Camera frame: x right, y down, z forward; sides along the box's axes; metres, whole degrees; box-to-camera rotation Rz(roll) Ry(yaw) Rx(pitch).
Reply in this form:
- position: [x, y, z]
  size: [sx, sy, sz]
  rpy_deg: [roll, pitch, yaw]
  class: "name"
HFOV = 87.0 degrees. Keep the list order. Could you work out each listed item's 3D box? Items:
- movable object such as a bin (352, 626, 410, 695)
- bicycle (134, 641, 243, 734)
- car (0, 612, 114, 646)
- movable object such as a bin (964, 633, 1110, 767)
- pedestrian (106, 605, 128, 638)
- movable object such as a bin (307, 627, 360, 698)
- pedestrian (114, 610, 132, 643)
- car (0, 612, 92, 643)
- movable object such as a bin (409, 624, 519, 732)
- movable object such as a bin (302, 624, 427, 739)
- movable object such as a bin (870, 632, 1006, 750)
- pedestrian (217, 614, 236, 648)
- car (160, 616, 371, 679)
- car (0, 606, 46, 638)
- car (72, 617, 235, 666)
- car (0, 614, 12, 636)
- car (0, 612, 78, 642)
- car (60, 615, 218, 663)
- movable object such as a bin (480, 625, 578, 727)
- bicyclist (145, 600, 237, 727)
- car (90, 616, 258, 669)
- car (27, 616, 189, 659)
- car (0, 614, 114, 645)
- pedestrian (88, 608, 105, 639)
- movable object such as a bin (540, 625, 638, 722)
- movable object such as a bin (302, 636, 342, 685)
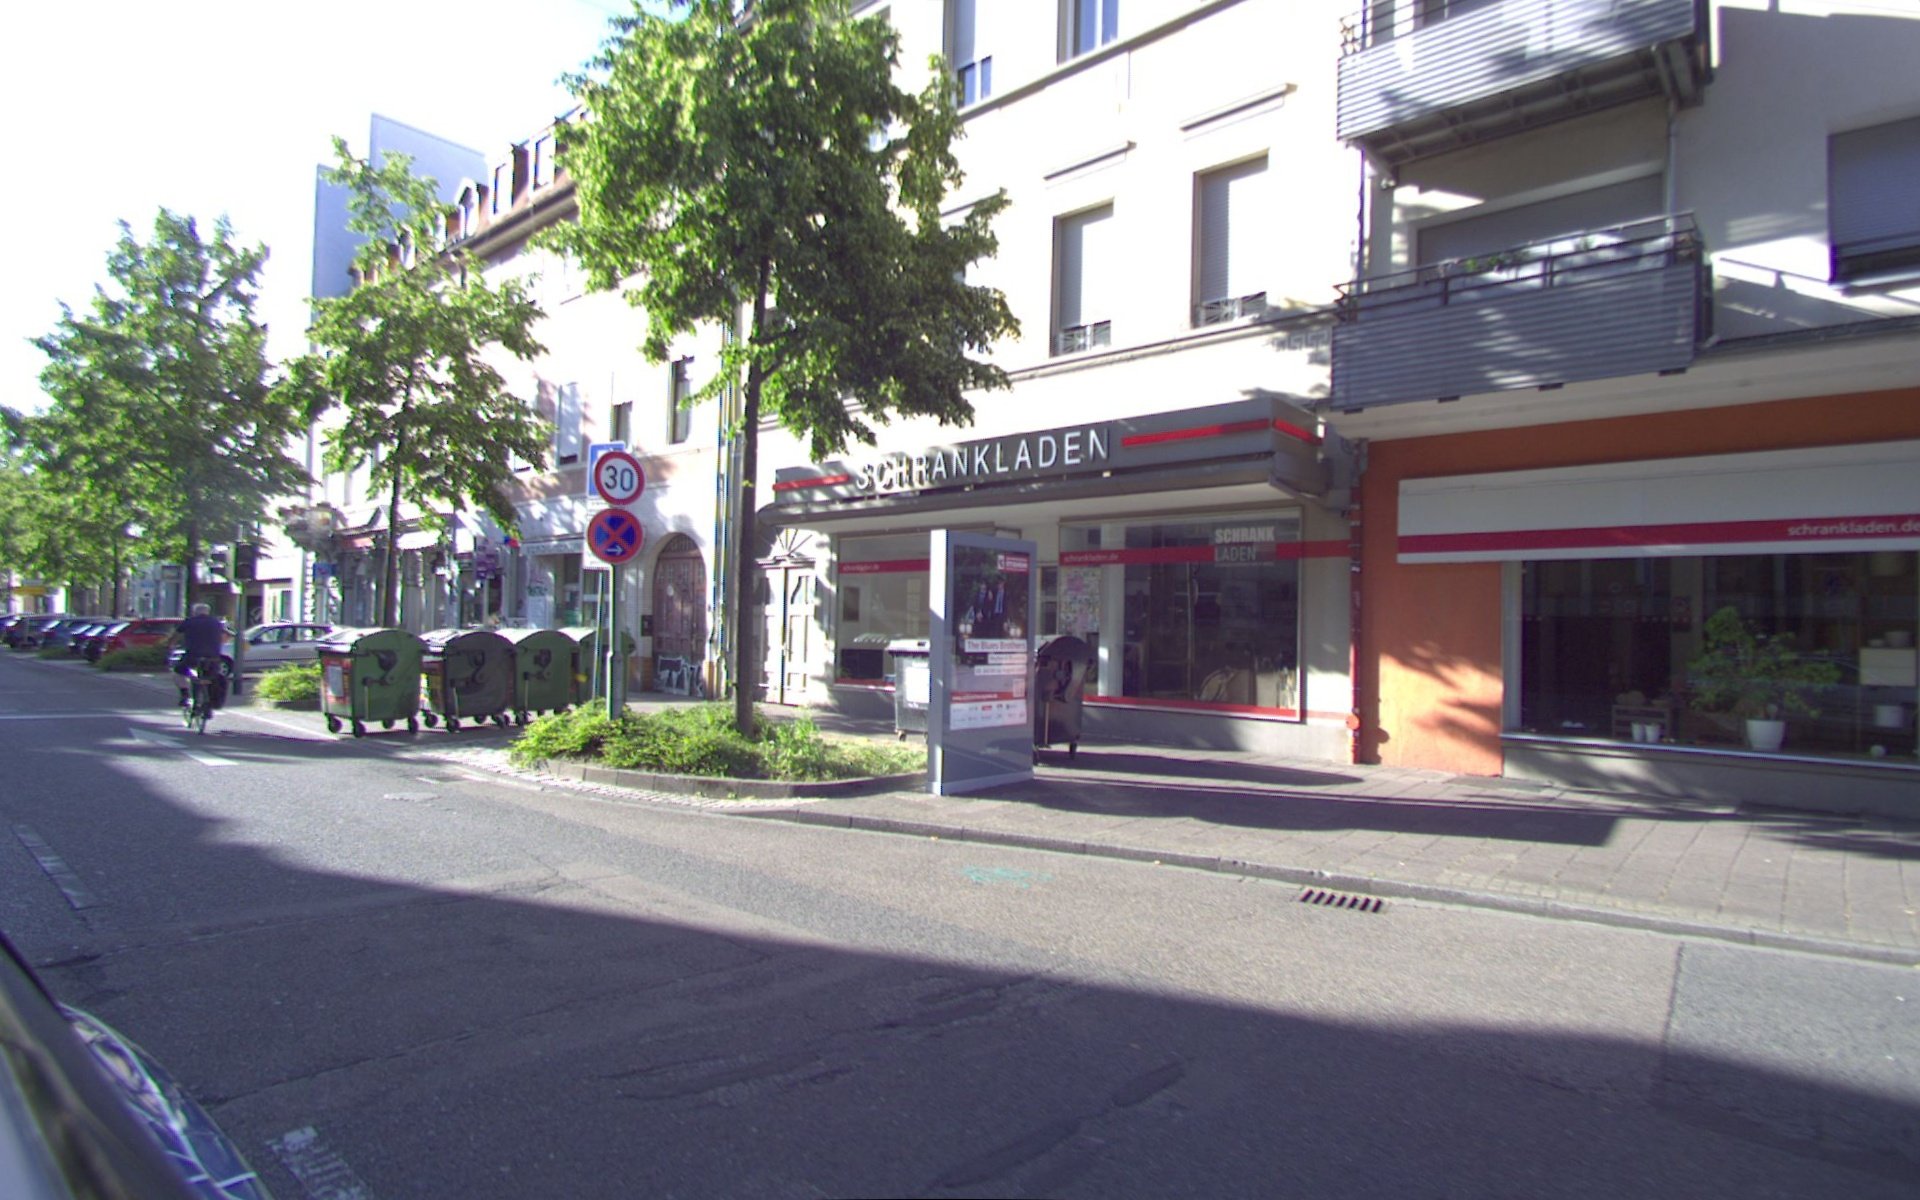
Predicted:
- position: [-11.744, 1.221, 20.523]
  size: [0.804, 1.351, 0.747]
  rpy_deg: [-1, -3, 40]
  class: "movable object such as a bin"
- position: [-10.648, 1.167, 13.945]
  size: [1.965, 1.155, 0.698]
  rpy_deg: [0, -3, 39]
  class: "bicycle"
- position: [-40.414, 1.299, 45.204]
  size: [1.778, 1.470, 3.744]
  rpy_deg: [-1, -2, 38]
  class: "car"
- position: [0.888, 1.106, 11.700]
  size: [1.313, 1.415, 1.031]
  rpy_deg: [-1, -3, 40]
  class: "movable object such as a bin"
- position: [-47.373, 1.207, 56.842]
  size: [0.762, 1.779, 0.767]
  rpy_deg: [0, 2, 39]
  class: "pedestrian"
- position: [-12.311, 1.217, 19.885]
  size: [0.804, 1.351, 0.628]
  rpy_deg: [-1, -3, 40]
  class: "movable object such as a bin"
- position: [-45.677, 1.451, 55.239]
  size: [0.690, 1.811, 0.747]
  rpy_deg: [2, -3, -37]
  class: "pedestrian"
- position: [-48.547, 1.467, 53.083]
  size: [1.980, 1.582, 4.320]
  rpy_deg: [-1, -2, 42]
  class: "car"
- position: [-7.243, 1.114, 14.780]
  size: [1.142, 1.483, 1.031]
  rpy_deg: [-1, -3, 40]
  class: "movable object such as a bin"
- position: [-8.296, 1.100, 14.098]
  size: [1.451, 1.483, 1.031]
  rpy_deg: [-1, -3, 40]
  class: "movable object such as a bin"
- position: [-0.275, 1.098, 12.609]
  size: [1.313, 1.355, 1.031]
  rpy_deg: [-1, -3, 40]
  class: "movable object such as a bin"
- position: [-30.674, 1.296, 42.330]
  size: [0.502, 1.419, 0.825]
  rpy_deg: [1, -2, -44]
  class: "pedestrian"
- position: [-17.629, 1.163, 25.820]
  size: [1.740, 1.479, 4.156]
  rpy_deg: [-1, -2, 43]
  class: "car"
- position: [-57.507, 1.305, 60.504]
  size: [2.038, 1.850, 4.062]
  rpy_deg: [-1, -2, 42]
  class: "car"
- position: [-25.494, 1.280, 32.063]
  size: [1.789, 1.439, 3.799]
  rpy_deg: [-1, -2, 43]
  class: "car"
- position: [-67.202, 1.688, 68.878]
  size: [1.708, 1.475, 3.741]
  rpy_deg: [-1, -2, 38]
  class: "car"
- position: [-50.680, 1.481, 54.677]
  size: [1.945, 1.582, 4.320]
  rpy_deg: [-1, -2, 42]
  class: "car"
- position: [-27.359, 1.279, 33.797]
  size: [1.771, 1.497, 3.876]
  rpy_deg: [-1, -2, 43]
  class: "car"
- position: [-6.666, 1.147, 15.657]
  size: [1.142, 1.483, 0.954]
  rpy_deg: [0, -3, 40]
  class: "movable object such as a bin"
- position: [-10.529, 0.848, 13.860]
  size: [1.034, 1.665, 0.690]
  rpy_deg: [0, -3, 38]
  class: "bicyclist"
- position: [-23.564, 1.241, 30.421]
  size: [1.739, 1.479, 3.709]
  rpy_deg: [-1, -2, 41]
  class: "car"
- position: [-32.078, 1.367, 38.218]
  size: [1.788, 1.470, 4.449]
  rpy_deg: [-1, -1, 39]
  class: "car"
- position: [-45.021, 1.461, 50.336]
  size: [1.977, 1.470, 4.205]
  rpy_deg: [-1, -2, 38]
  class: "car"
- position: [-47.920, 1.297, 56.173]
  size: [0.726, 1.639, 0.559]
  rpy_deg: [0, 2, 39]
  class: "pedestrian"
- position: [-6.039, 1.172, 16.498]
  size: [1.142, 1.483, 1.031]
  rpy_deg: [-1, -3, 40]
  class: "movable object such as a bin"
- position: [-14.508, 1.361, 23.004]
  size: [0.804, 1.077, 0.525]
  rpy_deg: [-1, -3, 40]
  class: "movable object such as a bin"
